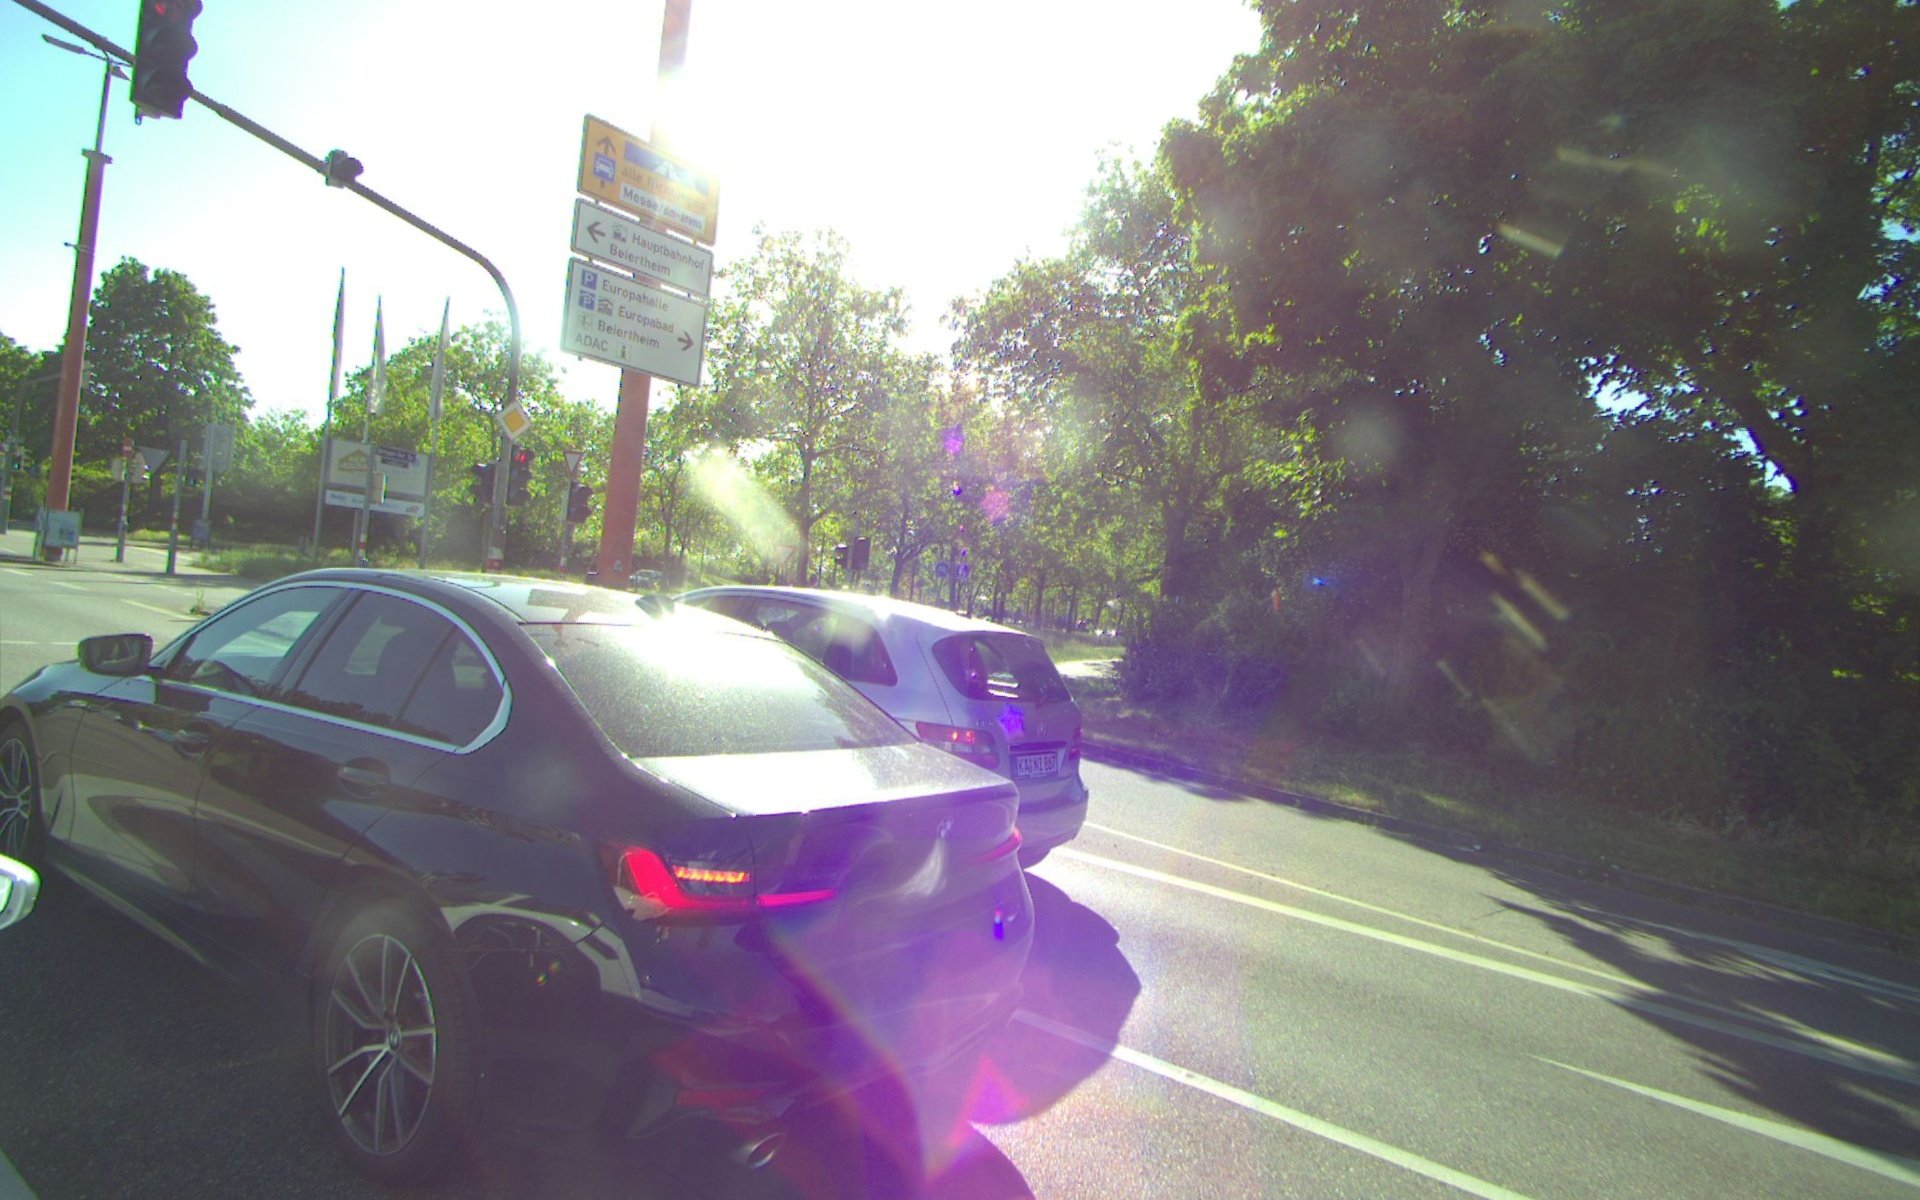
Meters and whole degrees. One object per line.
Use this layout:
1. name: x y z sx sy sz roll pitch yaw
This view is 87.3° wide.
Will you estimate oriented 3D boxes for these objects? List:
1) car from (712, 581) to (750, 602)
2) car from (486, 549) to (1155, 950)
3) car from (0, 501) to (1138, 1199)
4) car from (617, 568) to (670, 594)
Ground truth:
1. car: -20.494 -0.723 90.319 1.652 1.485 3.998 7 -1 12
2. car: -1.012 0.709 6.479 3.963 1.597 1.741 7 0 33
3. car: -1.813 0.567 3.707 4.371 1.415 1.871 7 0 33
4. car: -24.174 -1.431 76.935 1.751 1.503 4.332 7 -1 14
